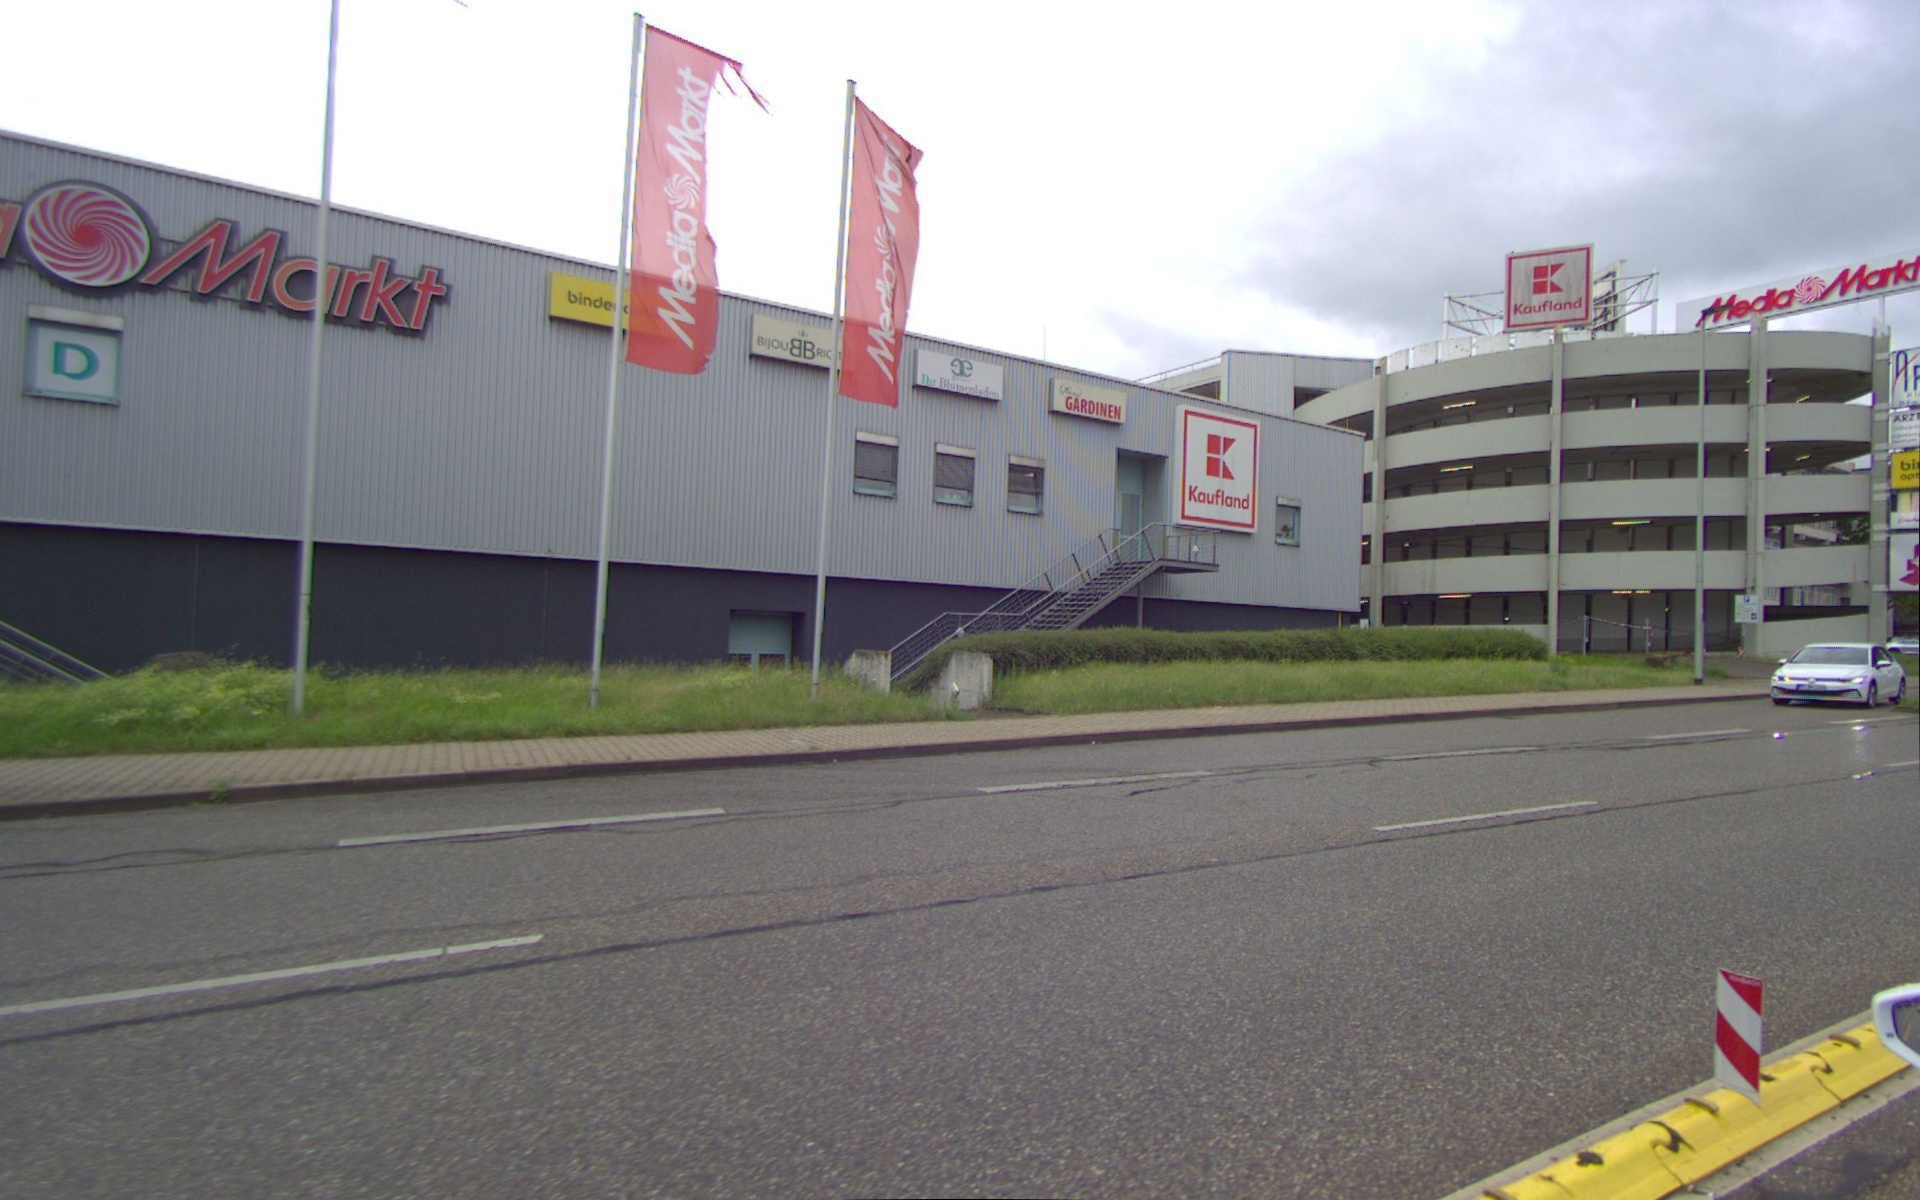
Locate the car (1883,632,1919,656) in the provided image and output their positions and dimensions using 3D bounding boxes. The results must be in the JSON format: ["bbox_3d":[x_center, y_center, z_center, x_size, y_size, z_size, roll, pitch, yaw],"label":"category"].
[{"bbox_3d":[74.598,3.436,77.631,2.114,1.769,4.564,0,1,-37],"label":"car"}]

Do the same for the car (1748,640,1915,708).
[{"bbox_3d":[20.556,1.670,23.654,4.378,1.427,1.888,1,-2,-34],"label":"car"}]

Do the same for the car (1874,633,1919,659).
[{"bbox_3d":[72.239,3.497,75.761,1.949,1.769,4.564,0,1,-37],"label":"car"}]
